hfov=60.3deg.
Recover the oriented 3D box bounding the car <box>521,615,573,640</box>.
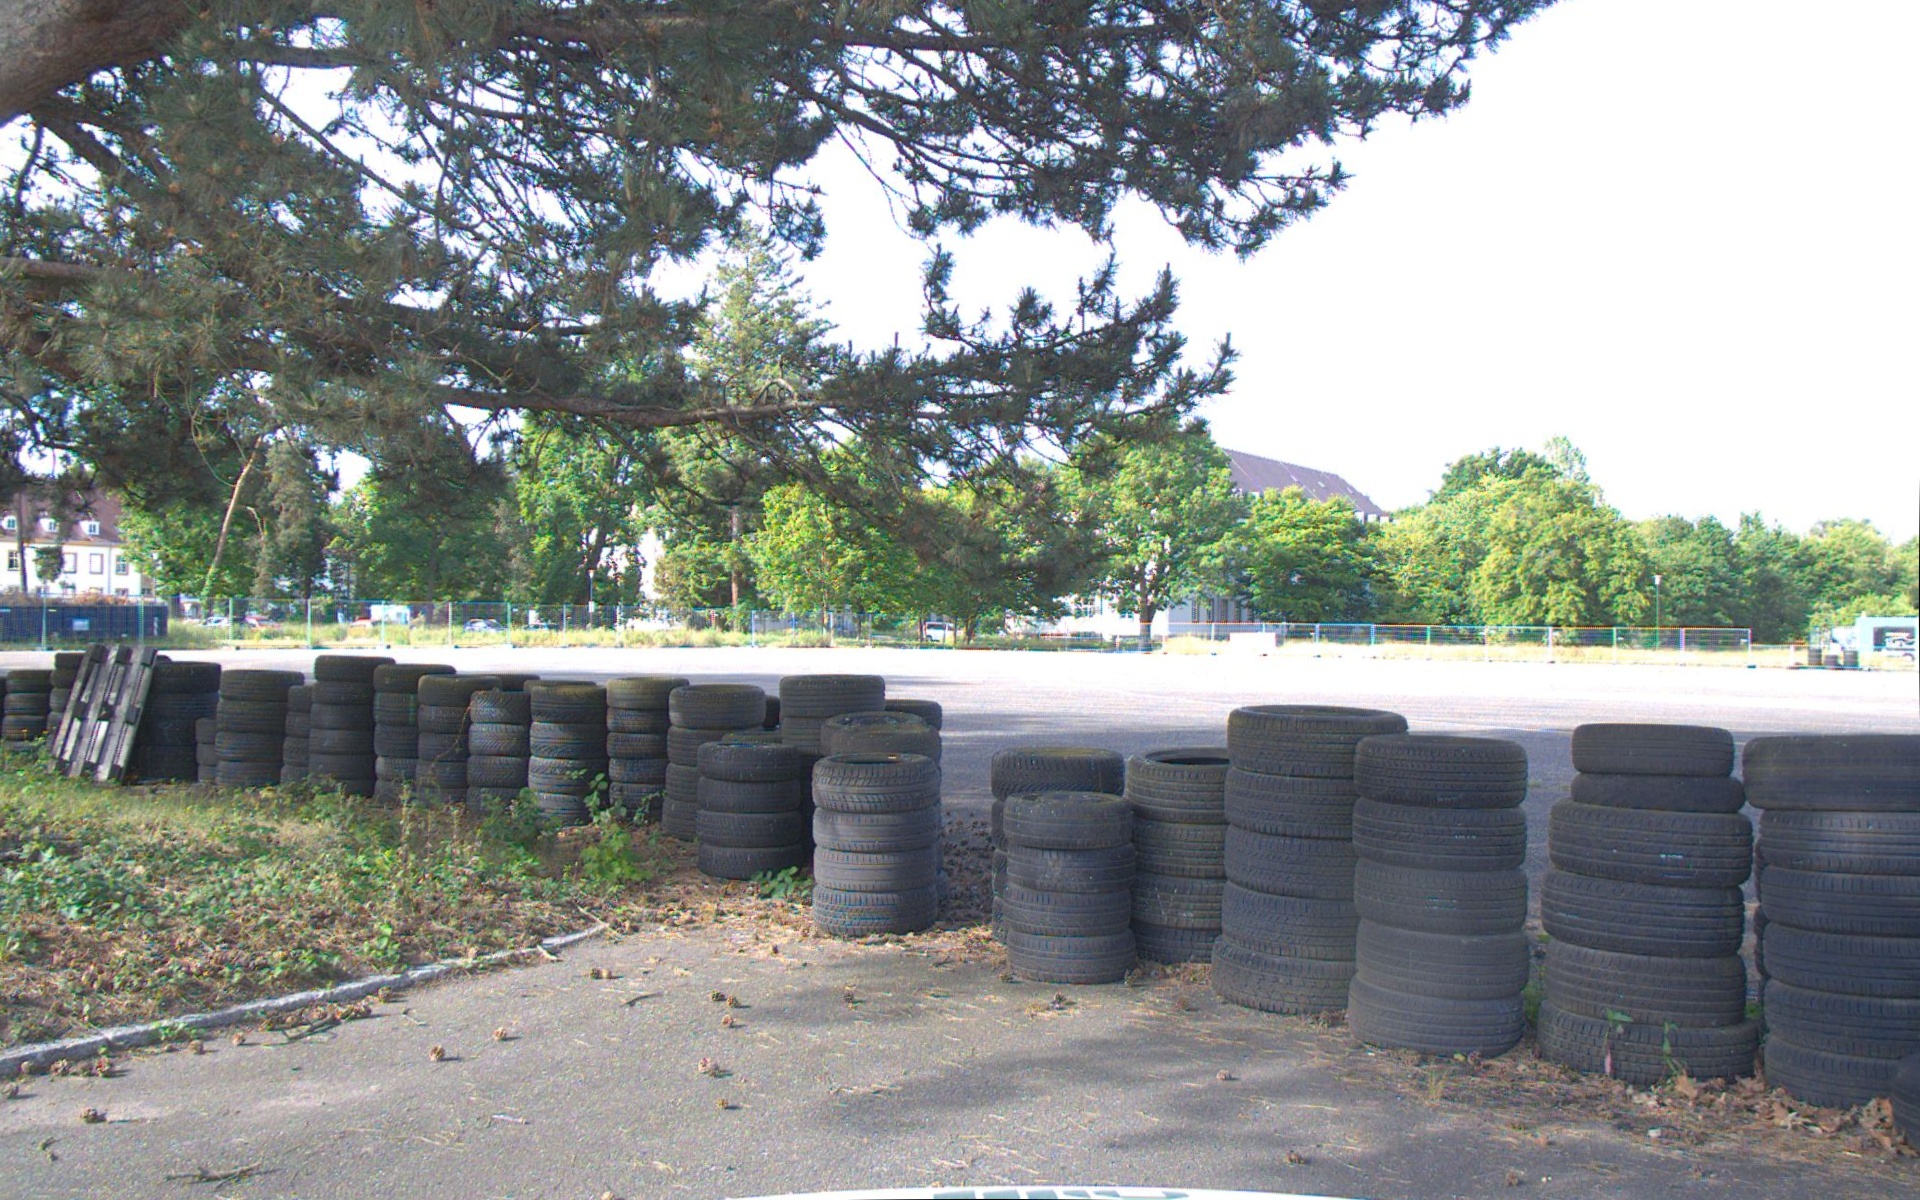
[{"bbox_3d":[-30.608,2.030,122.624,3.932,1.780,1.986,0,-1,44],"label":"car"}]

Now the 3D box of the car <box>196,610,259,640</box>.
[{"bbox_3d":[-45.031,1.517,101.664,3.925,1.780,1.990,0,-1,40],"label":"car"}]

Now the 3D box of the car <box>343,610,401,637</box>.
[{"bbox_3d":[-39.122,1.572,110.055,3.926,1.780,1.989,0,-1,41],"label":"car"}]
